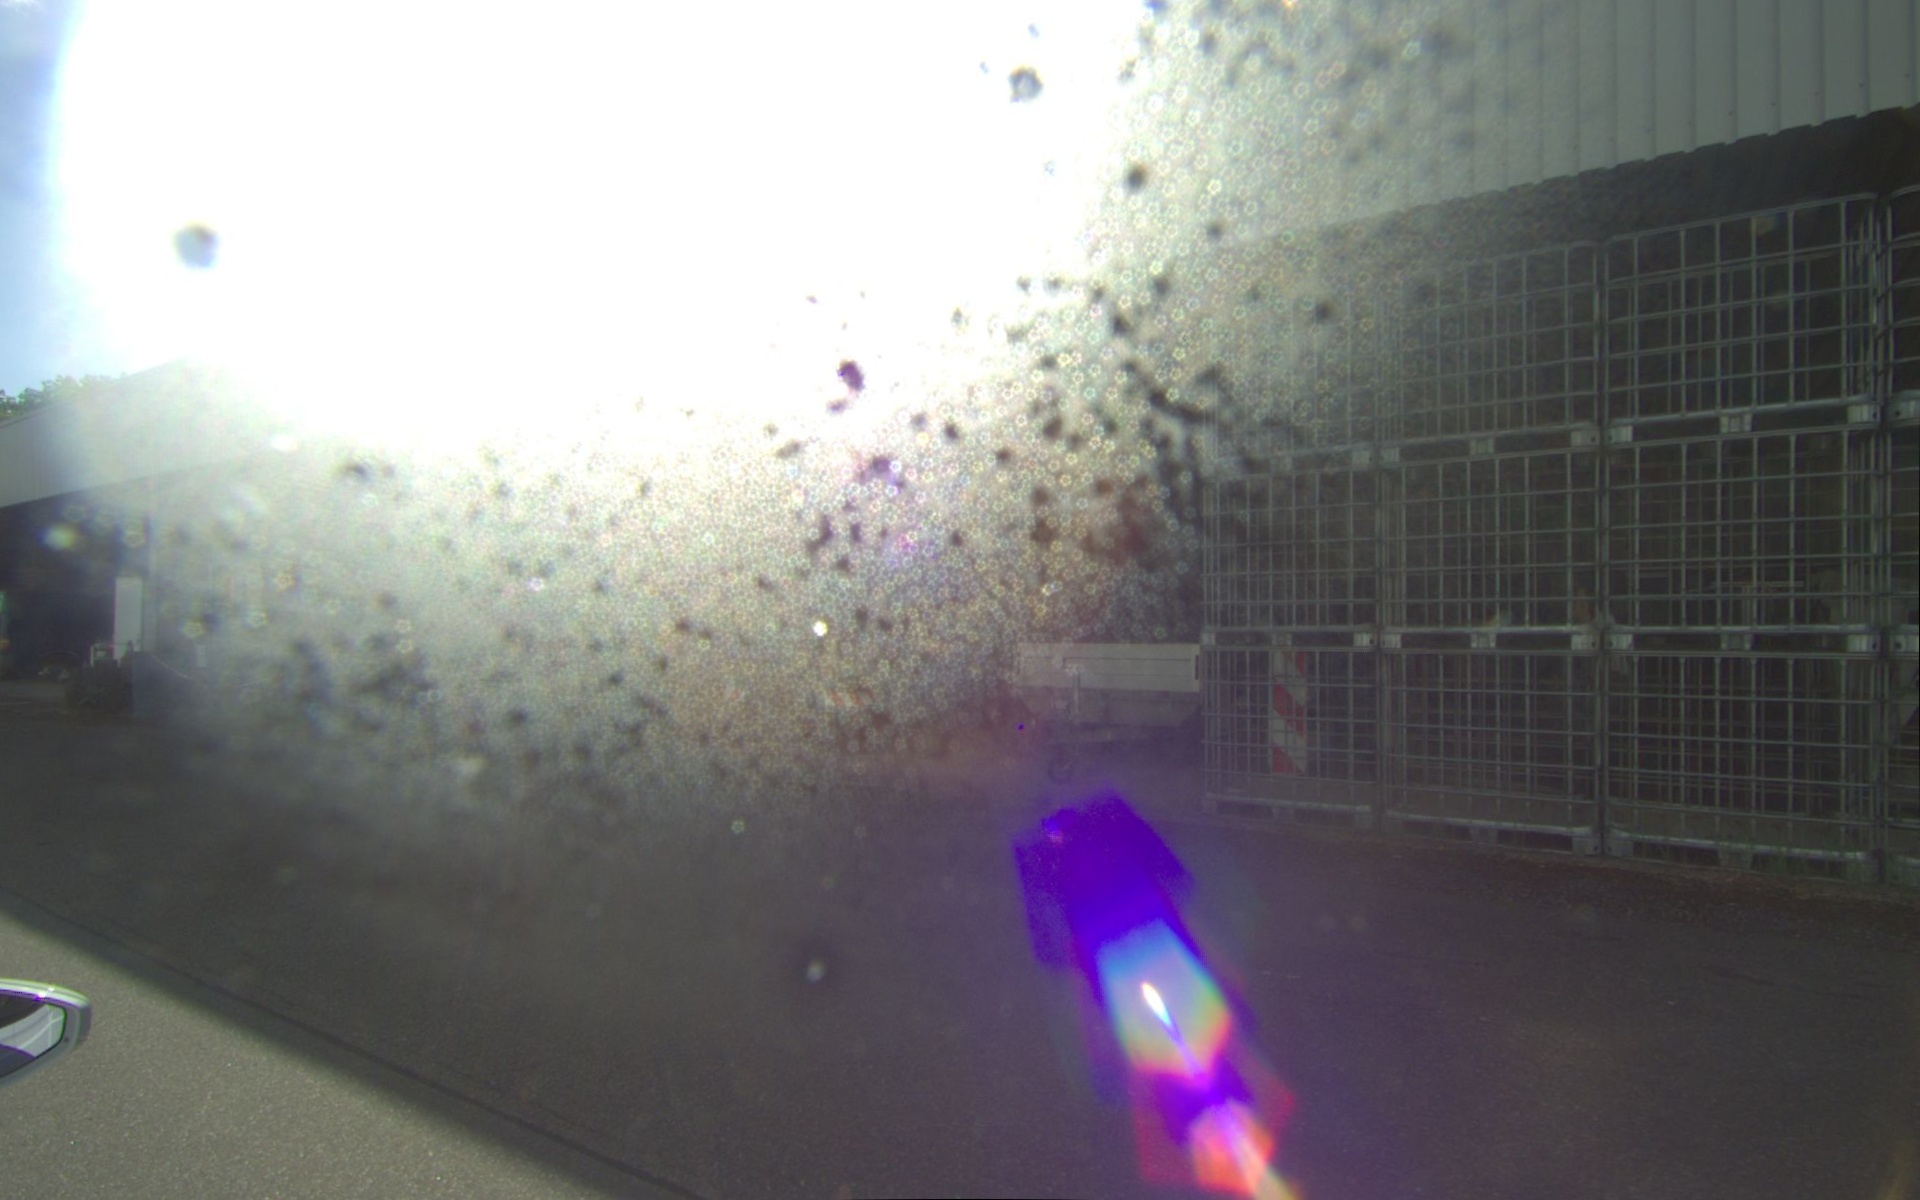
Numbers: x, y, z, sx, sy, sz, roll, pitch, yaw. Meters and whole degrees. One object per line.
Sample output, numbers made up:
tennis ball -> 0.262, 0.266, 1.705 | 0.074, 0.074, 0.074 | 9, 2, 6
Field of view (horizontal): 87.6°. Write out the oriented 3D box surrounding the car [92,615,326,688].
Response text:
car -> -17.379, 1.238, 23.371 | 1.662, 1.542, 4.031 | -3, -5, 33

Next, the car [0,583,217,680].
car -> -22.856, 0.933, 26.739 | 1.890, 2.337, 4.425 | -3, -5, 33

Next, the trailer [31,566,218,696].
trailer -> -16.773, 0.637, 20.170 | 1.703, 2.429, 2.518 | -2, -2, 34

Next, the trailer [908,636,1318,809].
trailer -> 1.954, 0.982, 10.175 | 2.110, 1.147, 5.840 | 0, -1, 31

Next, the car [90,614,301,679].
car -> -19.707, 1.261, 25.997 | 1.662, 1.542, 4.031 | -3, -5, 33

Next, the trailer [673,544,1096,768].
trailer -> -0.529, 0.582, 12.167 | 2.049, 2.058, 5.753 | 0, -1, 34
